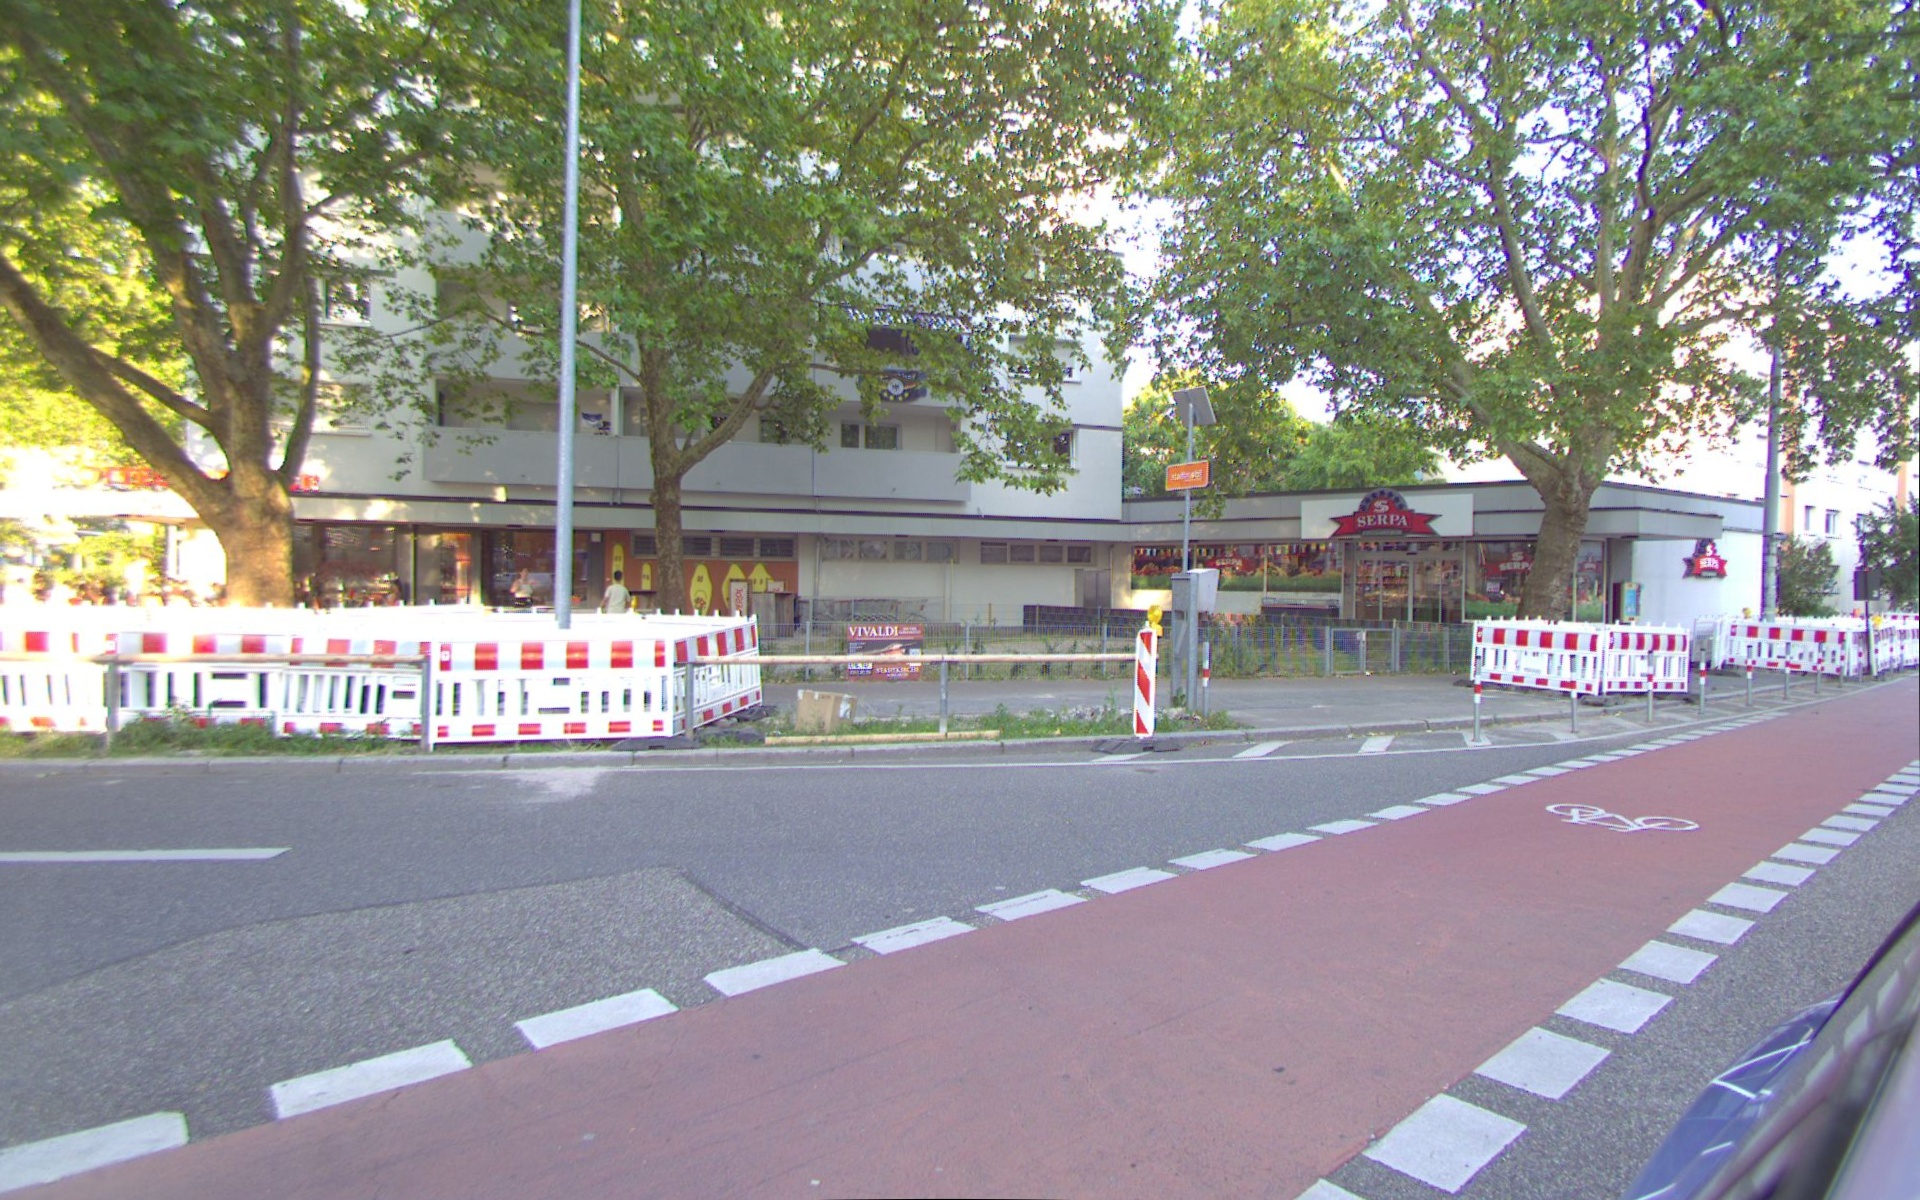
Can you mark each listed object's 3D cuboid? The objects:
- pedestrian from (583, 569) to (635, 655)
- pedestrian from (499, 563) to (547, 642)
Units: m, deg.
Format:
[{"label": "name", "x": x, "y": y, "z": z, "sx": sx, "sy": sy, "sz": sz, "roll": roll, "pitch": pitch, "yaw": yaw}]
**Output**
[{"label": "pedestrian", "x": -6.731, "y": 0.215, "z": 19.410, "sx": 0.639, "sy": 1.608, "sz": 0.735, "roll": 0, "pitch": 0, "yaw": 44}, {"label": "pedestrian", "x": -9.096, "y": 0.036, "z": 21.069, "sx": 0.639, "sy": 1.608, "sz": 0.735, "roll": 0, "pitch": 0, "yaw": 43}]
